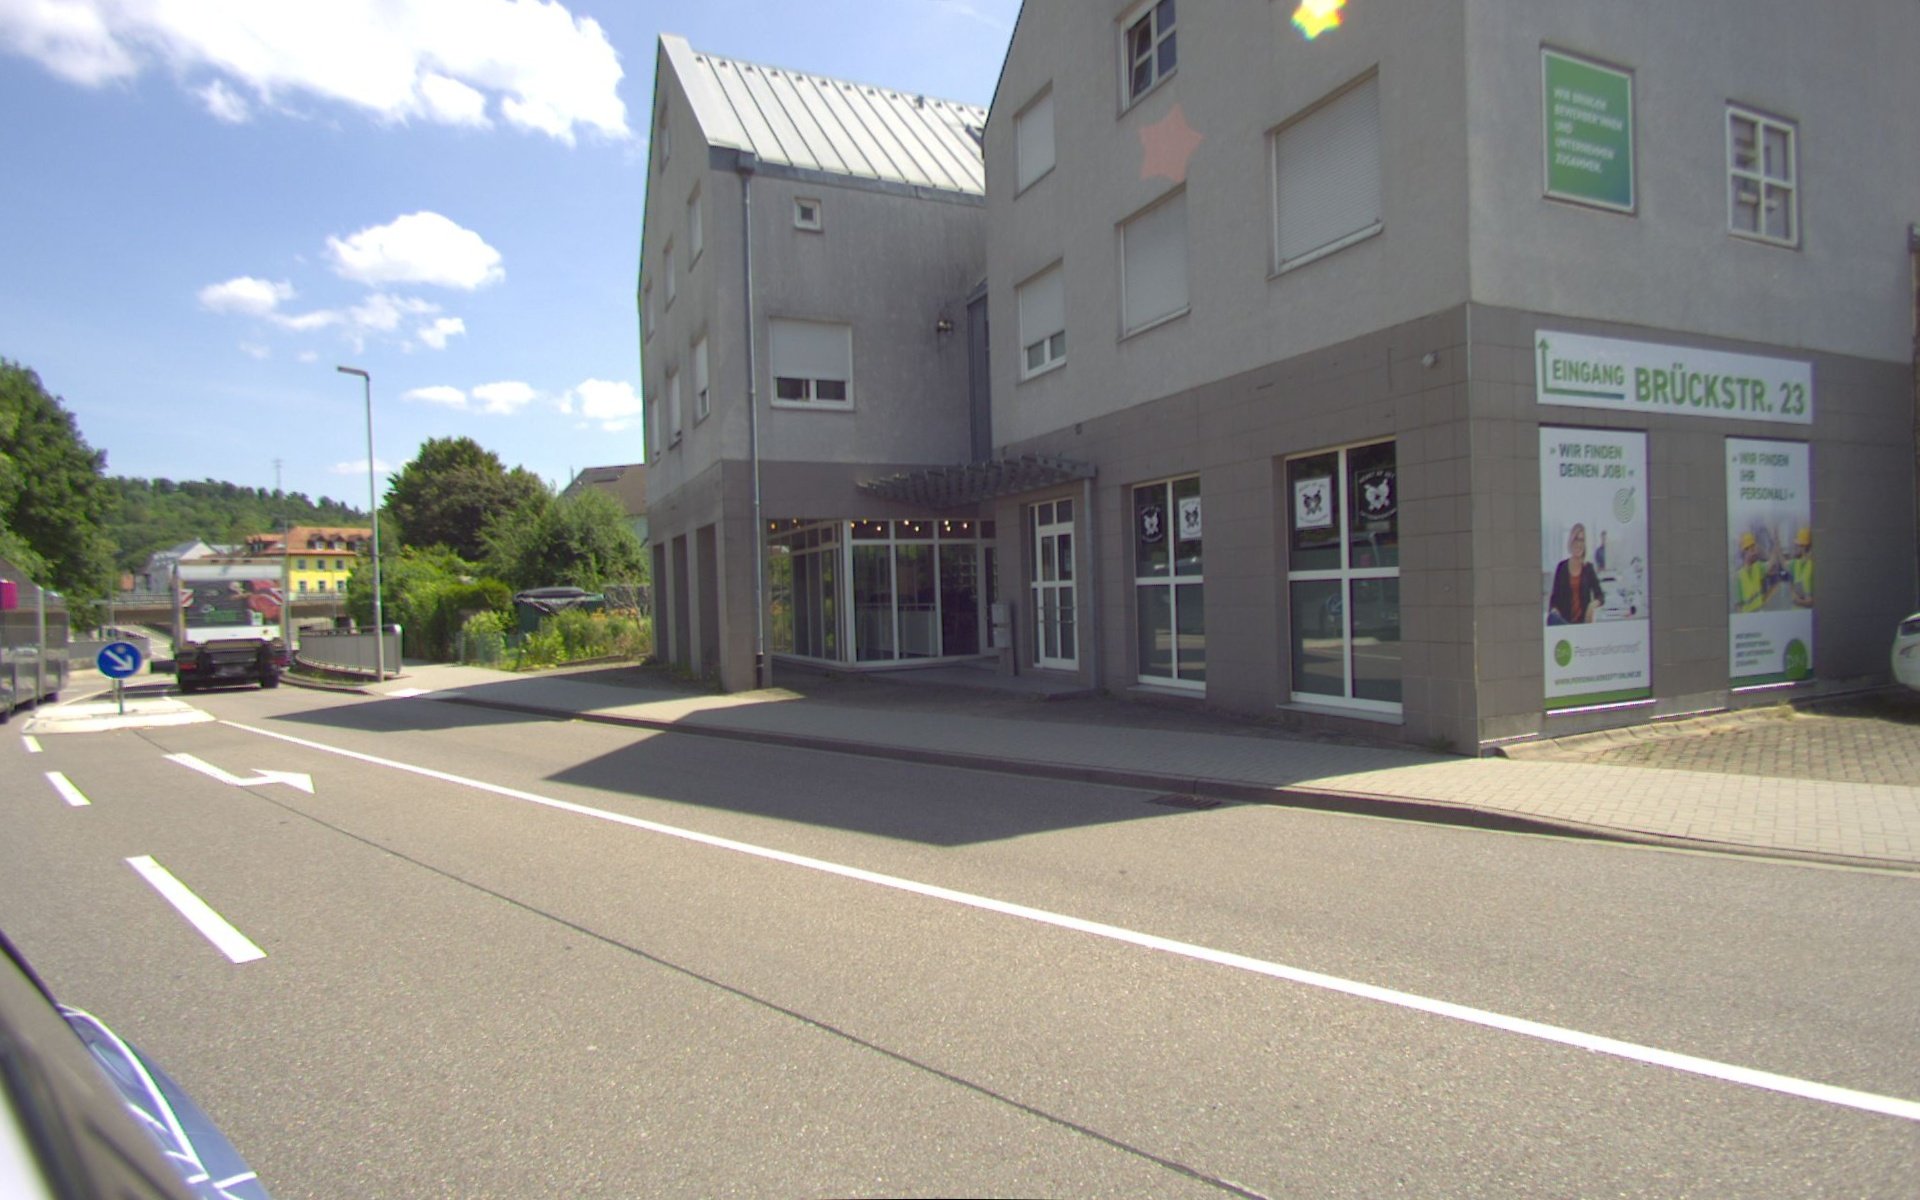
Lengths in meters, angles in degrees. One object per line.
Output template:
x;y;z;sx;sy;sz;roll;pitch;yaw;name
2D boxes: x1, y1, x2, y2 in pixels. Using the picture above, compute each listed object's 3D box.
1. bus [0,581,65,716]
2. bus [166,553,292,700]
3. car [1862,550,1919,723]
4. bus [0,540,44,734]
-24.682;1.314;25.577;2.714;2.990;9.296;-1;-2;-39;bus
-23.973;0.965;32.890;2.775;4.032;10.987;-2;-2;-38;bus
10.492;0.276;8.235;1.966;1.586;4.266;-1;-1;-30;car
-18.772;0.821;18.355;2.714;2.990;9.296;-1;-2;-39;bus
